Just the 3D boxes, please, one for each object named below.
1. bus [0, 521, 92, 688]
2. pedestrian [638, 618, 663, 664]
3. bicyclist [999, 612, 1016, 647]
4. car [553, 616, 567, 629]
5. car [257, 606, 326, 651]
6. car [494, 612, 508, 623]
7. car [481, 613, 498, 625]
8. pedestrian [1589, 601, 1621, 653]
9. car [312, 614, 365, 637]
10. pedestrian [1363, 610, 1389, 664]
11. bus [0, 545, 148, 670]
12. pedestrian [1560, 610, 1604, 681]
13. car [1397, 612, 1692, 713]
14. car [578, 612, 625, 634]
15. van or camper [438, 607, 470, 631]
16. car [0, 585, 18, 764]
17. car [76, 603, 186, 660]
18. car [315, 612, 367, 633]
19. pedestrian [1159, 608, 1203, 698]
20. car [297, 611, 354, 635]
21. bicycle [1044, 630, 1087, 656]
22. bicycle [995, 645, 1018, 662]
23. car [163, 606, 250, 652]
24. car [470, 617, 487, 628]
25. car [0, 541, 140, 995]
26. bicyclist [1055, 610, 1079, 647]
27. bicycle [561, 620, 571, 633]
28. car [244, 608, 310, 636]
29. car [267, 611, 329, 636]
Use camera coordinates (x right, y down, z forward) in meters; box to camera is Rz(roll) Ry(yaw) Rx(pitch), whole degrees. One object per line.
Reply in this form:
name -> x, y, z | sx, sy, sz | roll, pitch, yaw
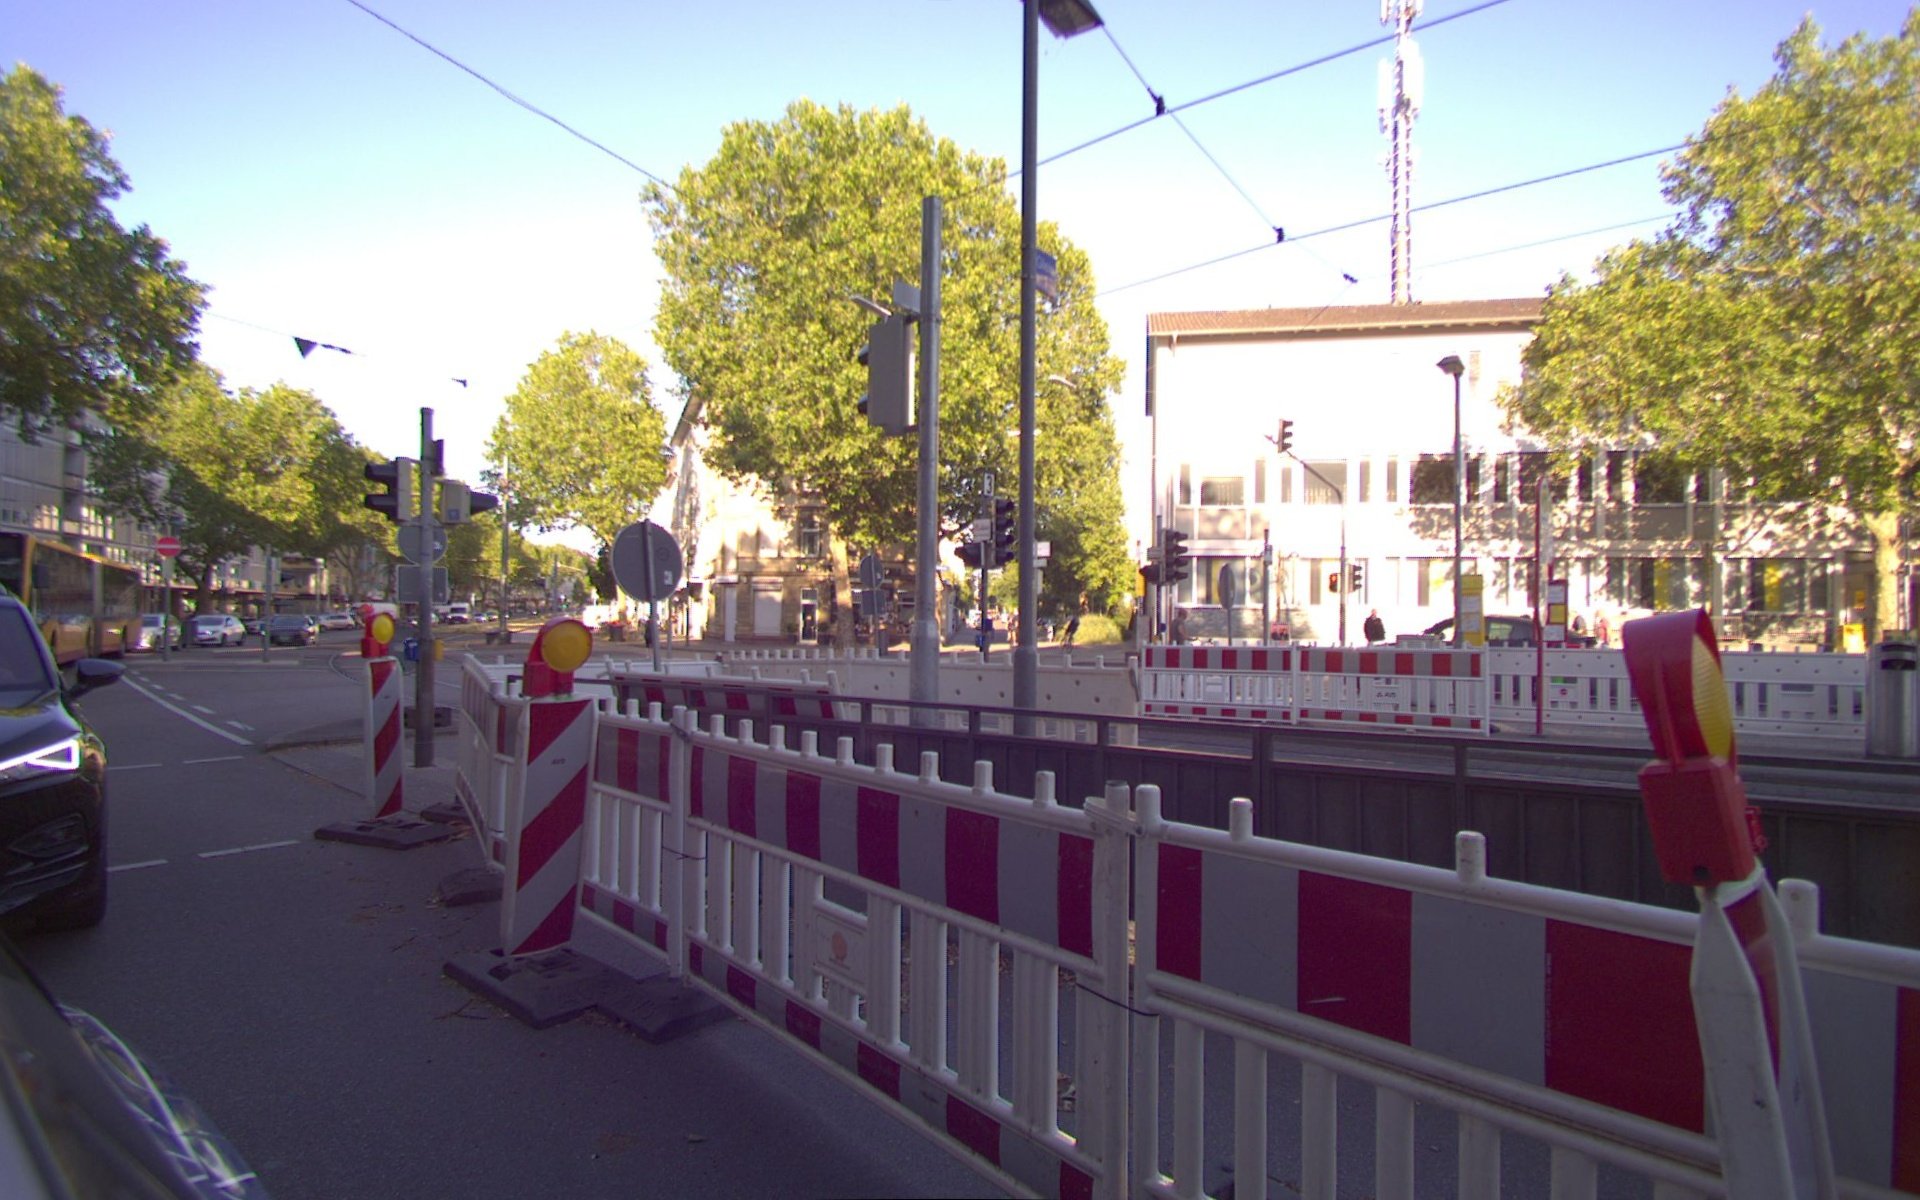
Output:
bus -> -21.124, 0.144, 22.020 | 2.678, 3.130, 8.641 | 1, -2, -36
pedestrian -> -10.656, 1.399, 34.867 | 0.594, 1.545, 0.746 | 1, -2, -38
bicyclist -> 2.407, 1.501, 51.157 | 0.668, 1.741, 0.761 | 0, -2, 17
car -> -64.685, 3.612, 163.793 | 1.965, 2.029, 4.013 | 1, -1, -20
car -> -31.659, 1.343, 48.059 | 1.965, 2.029, 4.013 | 1, -1, -22
car -> -79.173, 3.093, 174.687 | 1.809, 1.816, 4.143 | 1, -2, -19
car -> -71.028, 2.925, 152.757 | 1.809, 1.816, 4.143 | 1, -2, -19
pedestrian -> 18.712, 0.780, 29.355 | 0.579, 1.466, 0.584 | 0, -1, 11
car -> -58.007, 2.380, 94.460 | 3.938, 2.029, 2.002 | 1, -2, -42
pedestrian -> 12.087, 1.066, 29.413 | 0.649, 1.564, 0.563 | -1, -2, 28
bus -> -25.967, 0.263, 29.237 | 2.676, 3.130, 8.622 | 1, -2, -31
pedestrian -> 16.380, 1.185, 26.660 | 0.923, 1.847, 0.693 | -1, -2, 28
car -> 10.840, 1.073, 18.927 | 4.552, 1.674, 1.974 | -1, -2, 38
car -> -34.385, 2.179, 97.128 | 1.990, 2.029, 3.963 | 0, -2, 27
van or camper -> -59.118, 2.269, 118.419 | 2.385, 2.739, 6.151 | 1, -1, -18
car -> -11.010, 0.695, 10.069 | 4.073, 1.656, 1.973 | -1, -2, 41
car -> -30.852, 1.157, 37.805 | 1.965, 2.029, 4.111 | 1, -1, -21
car -> -60.244, 2.226, 98.522 | 3.938, 2.029, 2.002 | 1, -2, -42
pedestrian -> 4.403, 1.050, 20.212 | 0.545, 1.760, 0.693 | 1, -2, -24
car -> -56.011, 2.014, 89.400 | 3.938, 2.029, 2.002 | 1, -2, -42
bicycle -> 4.352, 1.752, 41.919 | 0.666, 1.039, 2.197 | 1, -2, -28
bicycle -> 2.367, 2.706, 51.022 | 0.676, 0.788, 1.979 | 0, -1, 17
car -> -34.834, 1.318, 46.918 | 1.966, 2.029, 4.012 | 1, -1, -17
car -> -64.952, 3.059, 136.634 | 1.675, 1.481, 3.776 | 1, -2, -19
car -> -5.467, 0.645, 4.771 | 3.998, 1.719, 1.818 | -1, -2, 41
bicyclist -> 4.411, 1.178, 41.789 | 0.566, 1.538, 0.848 | 1, -2, -30
bicycle -> -37.828, 2.539, 97.198 | 0.837, 1.202, 2.474 | 1, -1, -22
car -> -50.518, 1.637, 74.960 | 3.932, 2.029, 2.006 | 1, -2, -31
car -> -54.011, 1.913, 82.559 | 3.938, 2.029, 2.002 | 1, -2, -42
